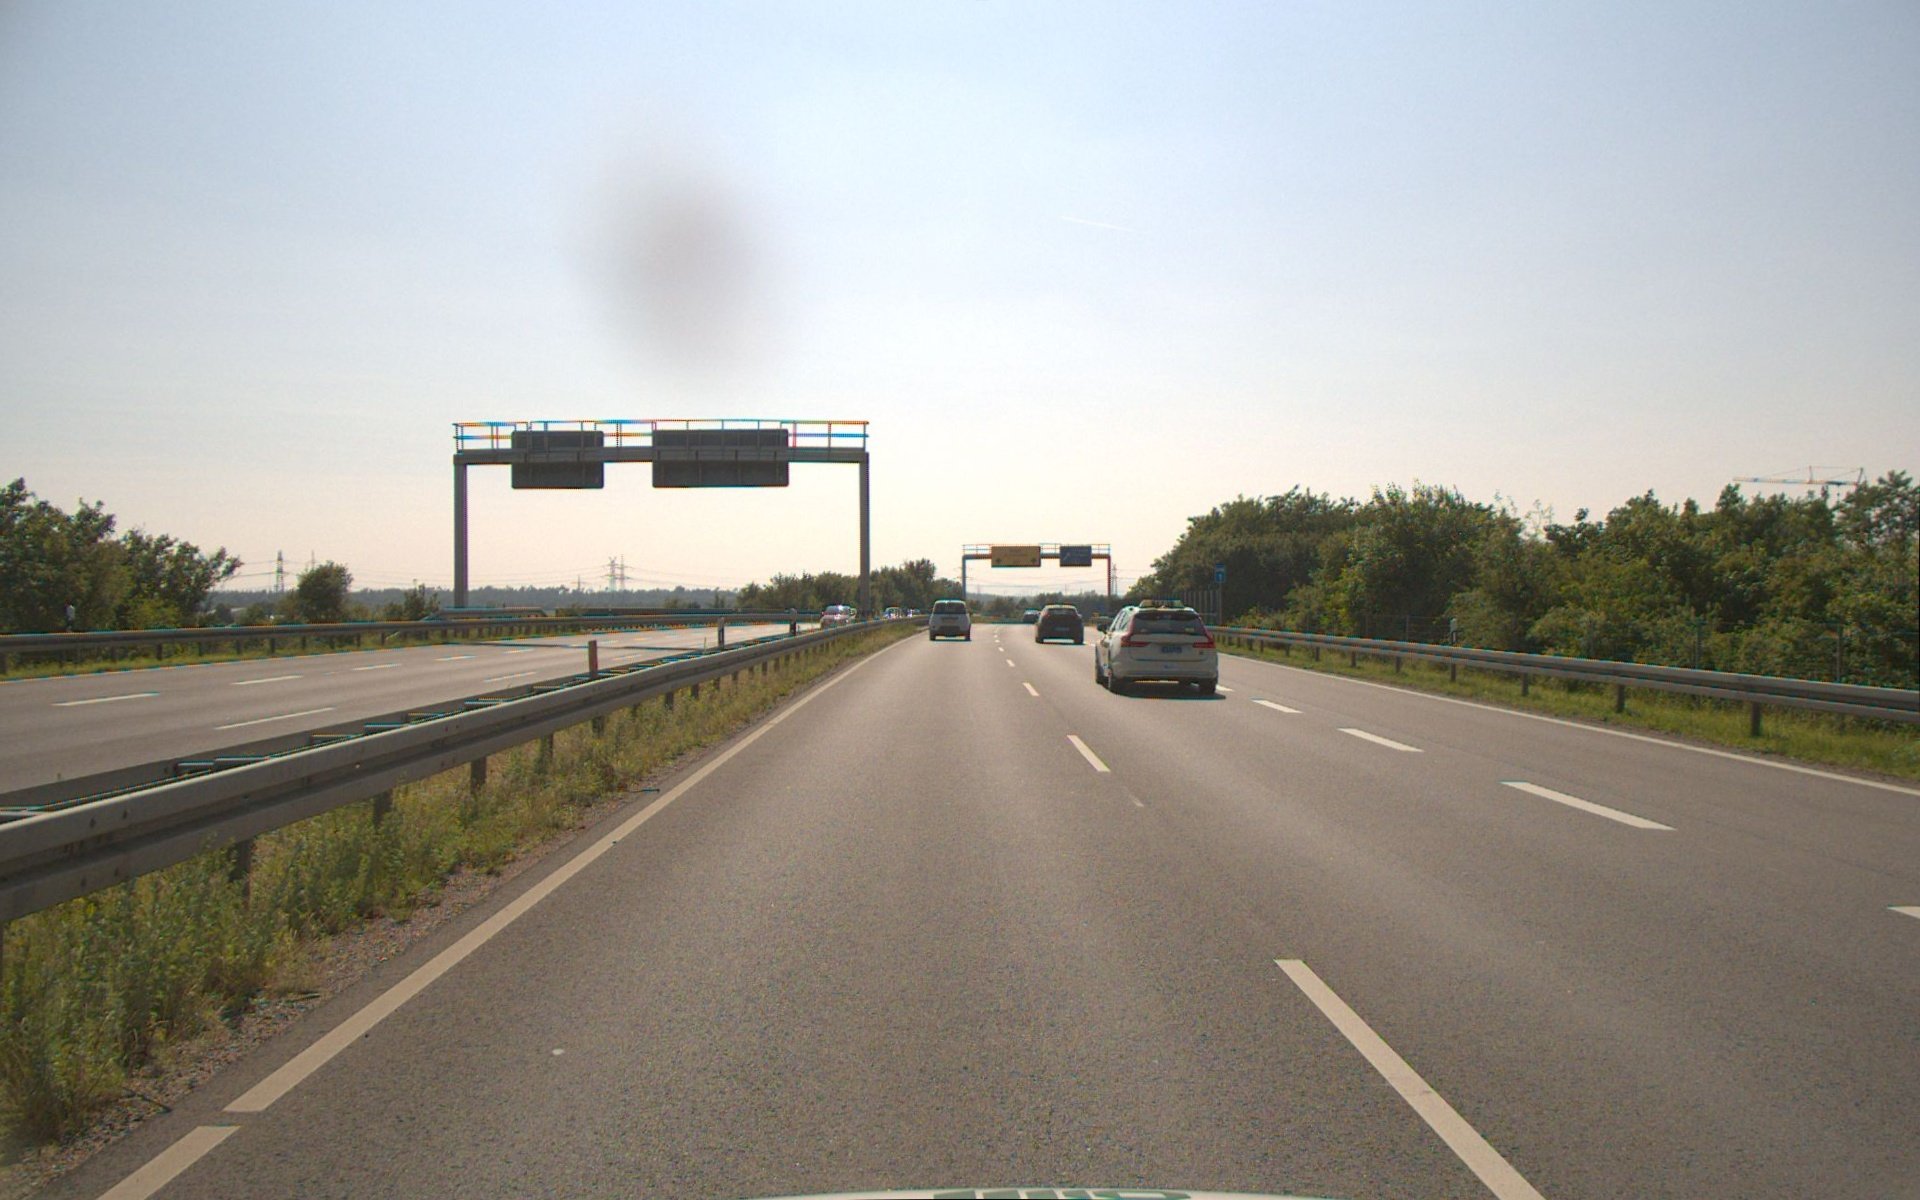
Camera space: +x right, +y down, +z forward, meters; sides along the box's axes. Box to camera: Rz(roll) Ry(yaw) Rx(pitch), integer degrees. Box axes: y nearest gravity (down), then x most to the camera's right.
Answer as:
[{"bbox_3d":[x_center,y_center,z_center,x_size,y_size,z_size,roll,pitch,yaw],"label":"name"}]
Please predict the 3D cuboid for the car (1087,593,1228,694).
[{"bbox_3d":[3.430,0.724,29.491,1.918,1.629,4.106,1,0,-1],"label":"car"}]

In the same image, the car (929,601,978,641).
[{"bbox_3d":[-0.229,0.845,65.676,1.756,1.529,4.044,-1,-1,2],"label":"car"}]

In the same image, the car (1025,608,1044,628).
[{"bbox_3d":[8.041,1.964,178.353,1.952,2.049,4.001,1,0,1],"label":"car"}]

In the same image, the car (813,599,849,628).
[{"bbox_3d":[-7.084,0.727,91.118,1.675,1.512,4.265,1,0,0],"label":"car"}]

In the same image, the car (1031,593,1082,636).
[{"bbox_3d":[3.649,0.575,63.016,1.756,1.570,3.671,1,-1,1],"label":"car"}]
